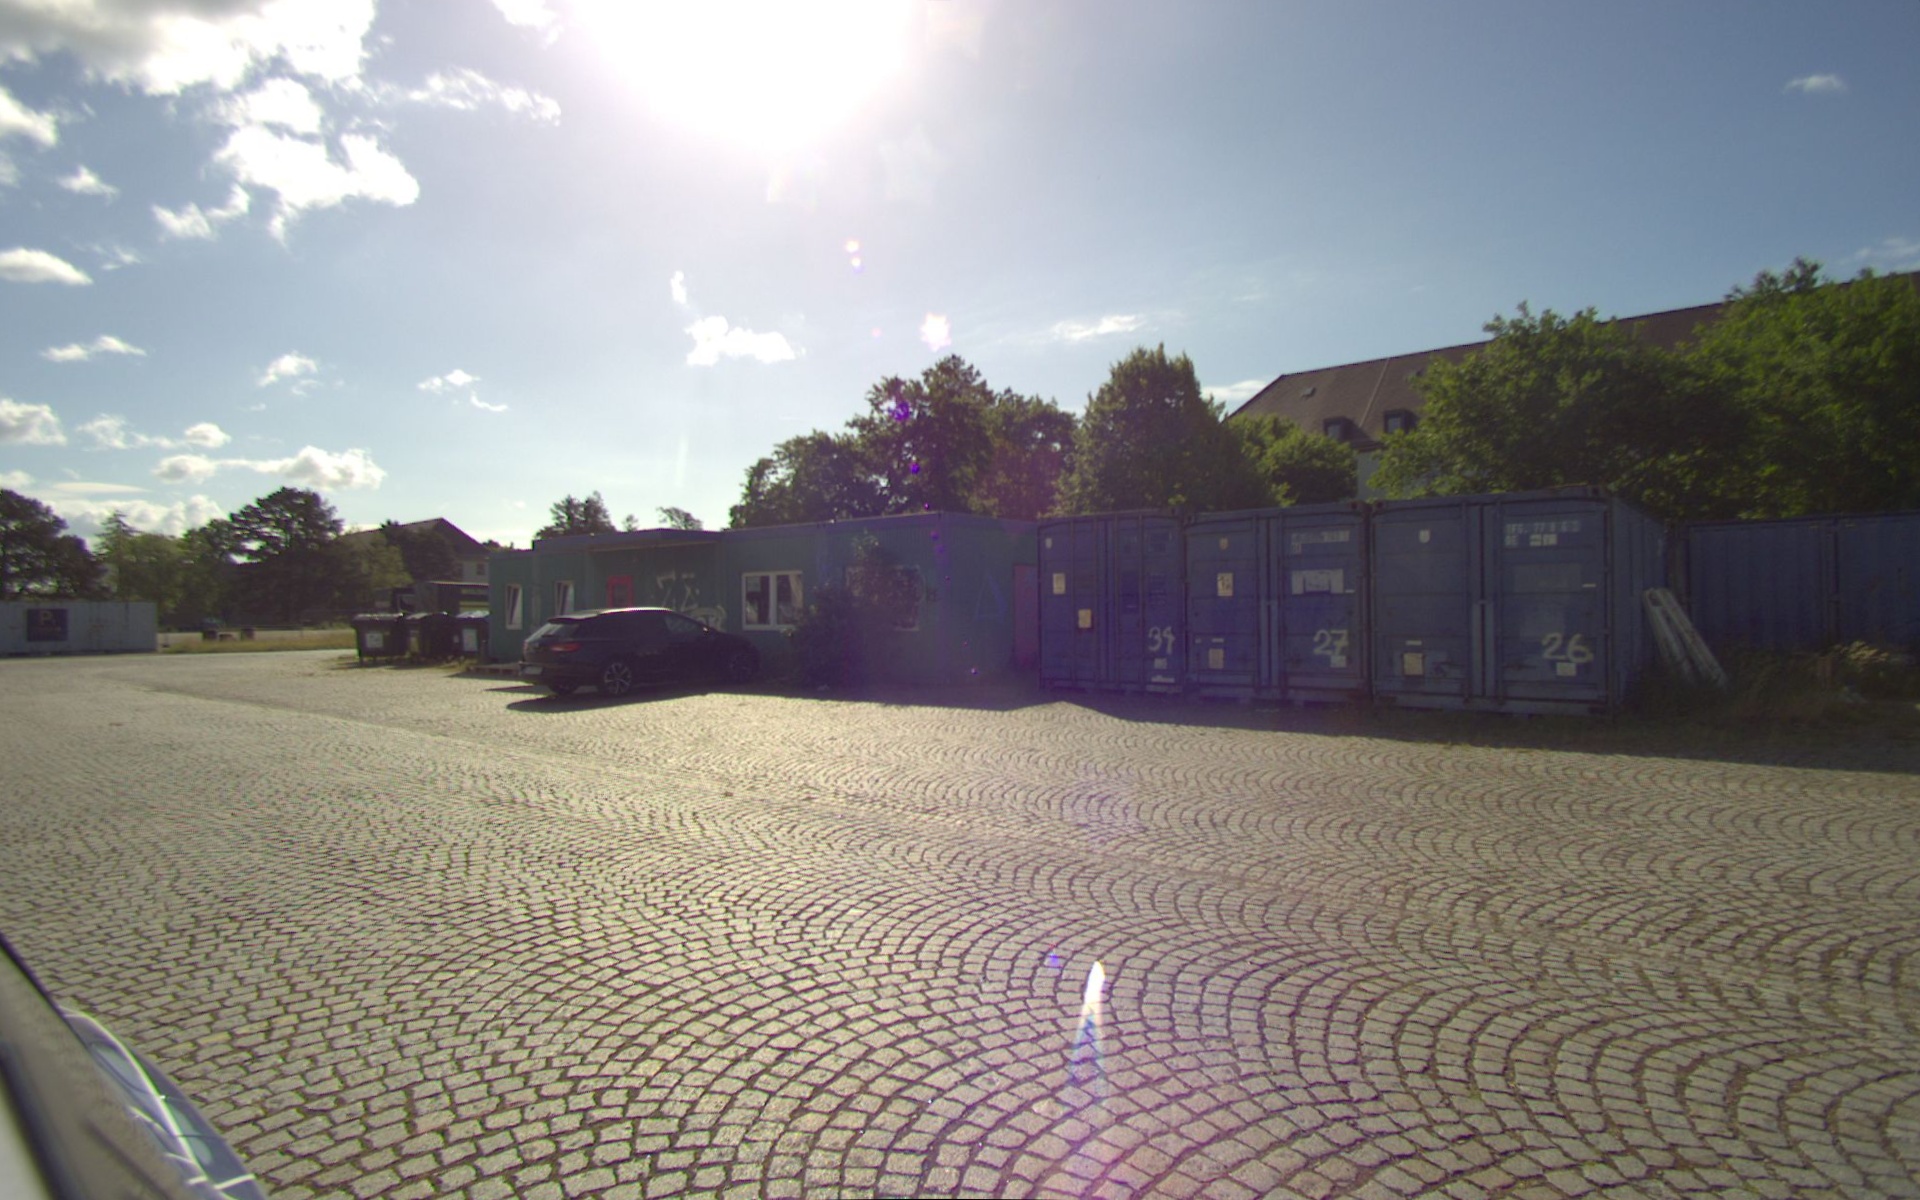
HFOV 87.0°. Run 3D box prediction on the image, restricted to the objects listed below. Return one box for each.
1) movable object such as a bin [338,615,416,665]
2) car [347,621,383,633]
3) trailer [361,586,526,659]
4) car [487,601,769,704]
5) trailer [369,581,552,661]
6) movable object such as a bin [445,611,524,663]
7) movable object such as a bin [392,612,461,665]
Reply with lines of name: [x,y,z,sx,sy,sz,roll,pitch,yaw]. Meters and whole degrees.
movable object such as a bin: [-17.095,1.150,29.726,1.513,1.397,1.387,-1,-1,-4]
car: [-82.955,3.699,141.108,1.996,1.594,3.951,-1,-1,36]
trailer: [-17.597,0.747,34.647,2.136,2.315,4.606,-2,-1,41]
car: [-5.701,0.824,17.875,1.997,1.475,4.374,-2,0,37]
trailer: [-16.011,0.643,32.677,2.092,2.372,4.914,-1,-1,37]
movable object such as a bin: [-13.312,1.030,28.344,1.529,1.397,1.373,-1,-1,29]
movable object such as a bin: [-15.164,1.075,28.781,1.535,1.433,1.282,-2,-1,42]
